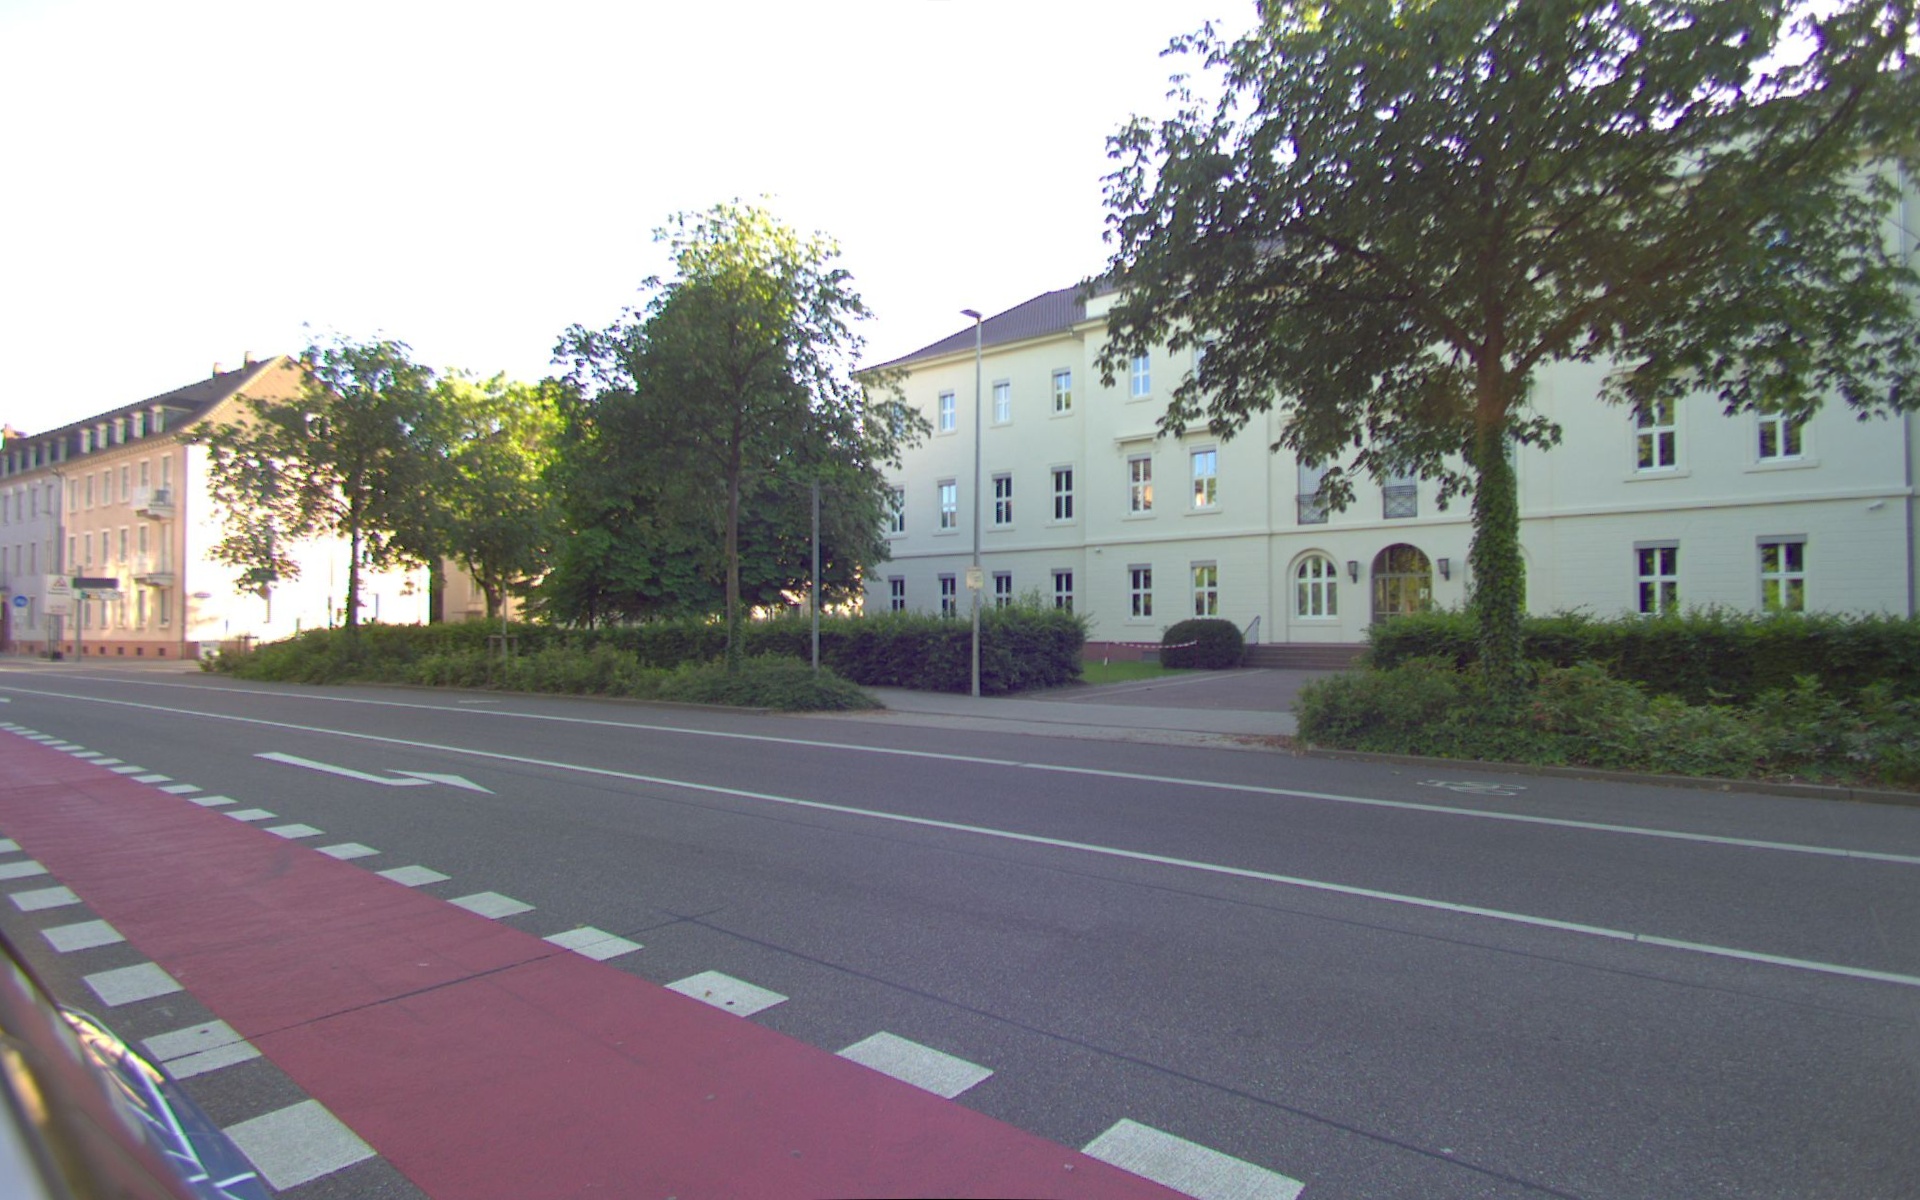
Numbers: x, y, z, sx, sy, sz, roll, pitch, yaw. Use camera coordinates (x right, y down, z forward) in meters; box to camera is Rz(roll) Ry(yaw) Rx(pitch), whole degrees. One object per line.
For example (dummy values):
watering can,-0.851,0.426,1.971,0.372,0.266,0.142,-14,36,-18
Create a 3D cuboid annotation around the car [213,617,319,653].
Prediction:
car,-34.686,1.705,50.664,1.993,1.674,3.958,-1,-1,31
